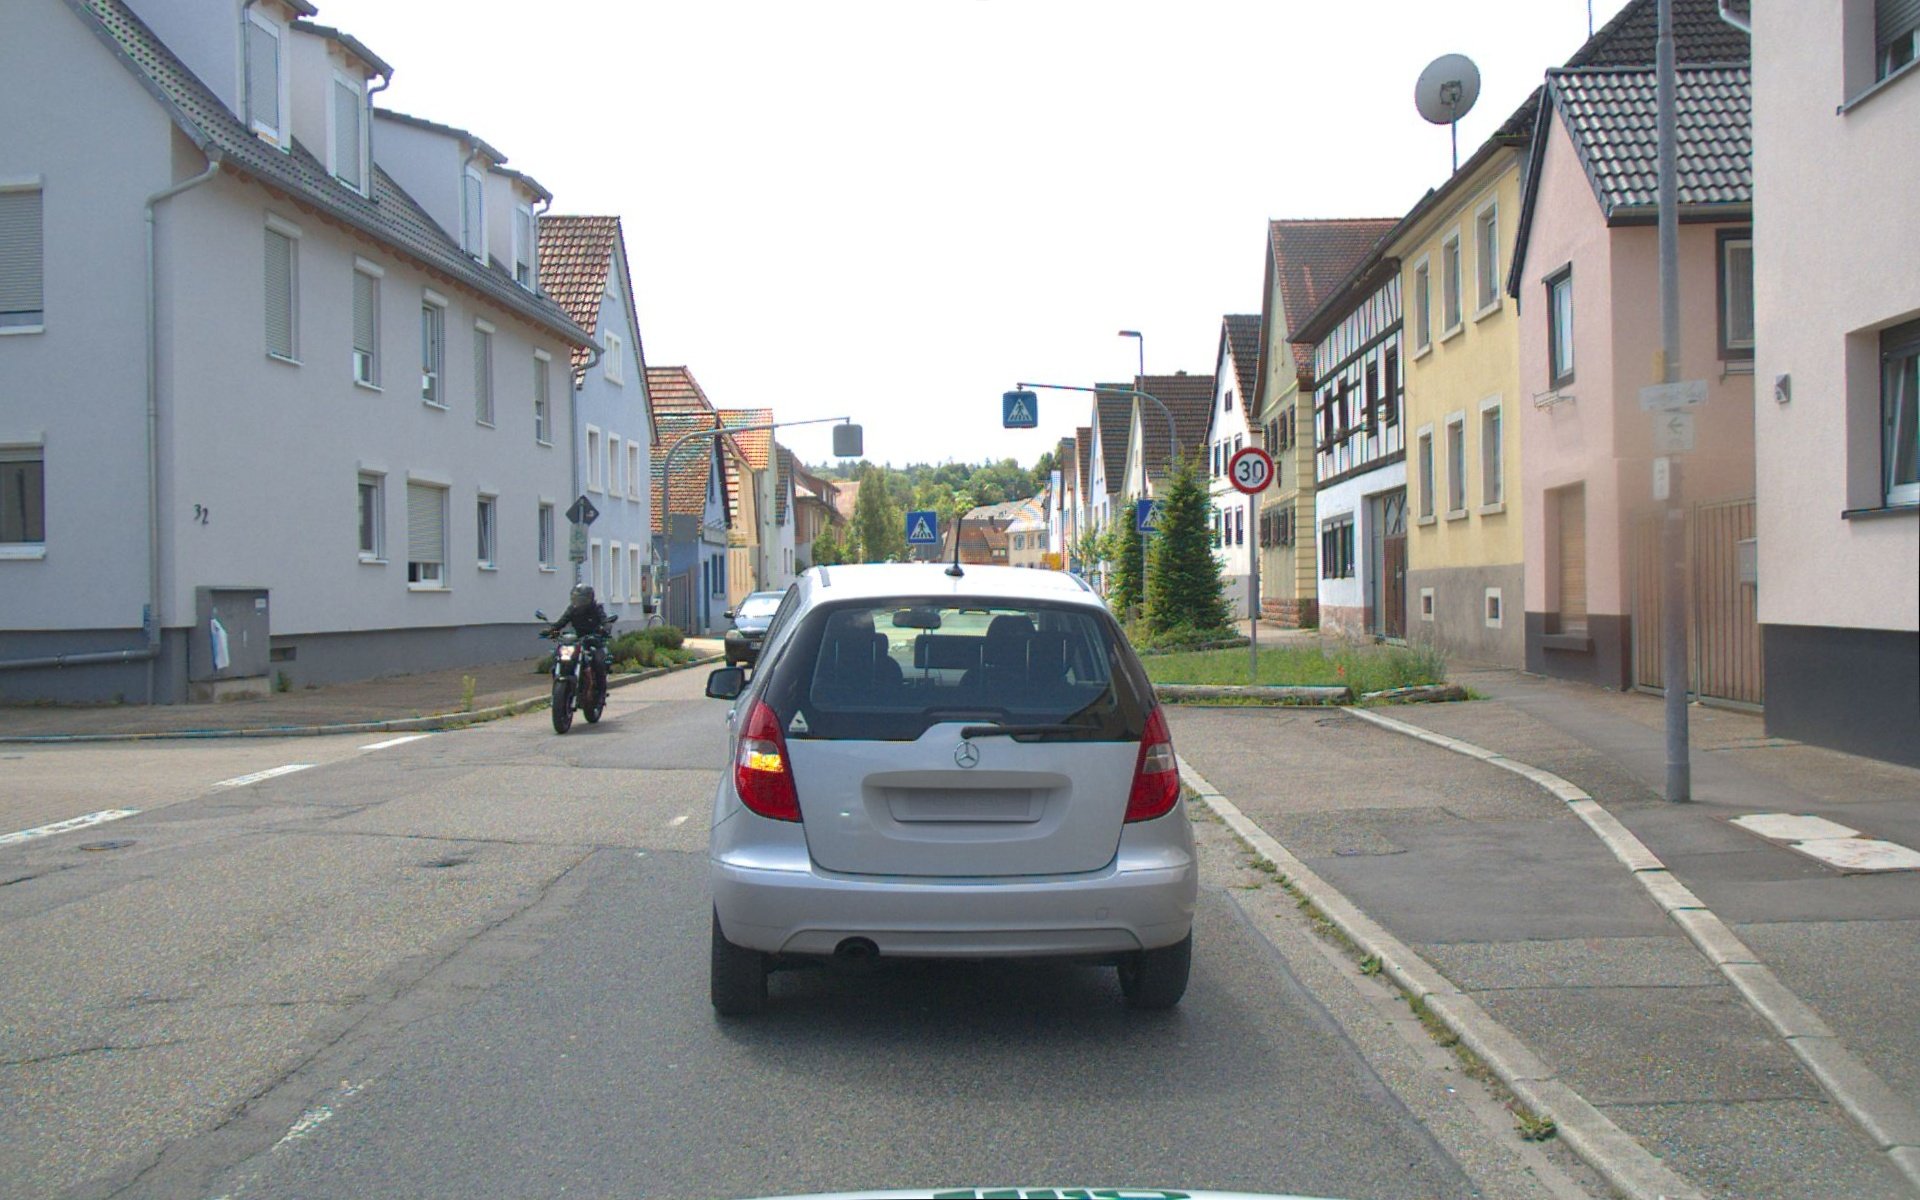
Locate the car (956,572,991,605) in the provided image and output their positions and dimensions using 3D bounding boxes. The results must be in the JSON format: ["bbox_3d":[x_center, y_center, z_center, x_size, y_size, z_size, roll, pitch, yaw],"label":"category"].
[{"bbox_3d":[0.764,-0.678,98.244,1.953,1.848,3.998,0,-2,-1],"label":"car"}]

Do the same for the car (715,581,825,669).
[{"bbox_3d":[-3.607,0.498,32.011,1.468,1.567,3.857,2,-1,3],"label":"car"}]

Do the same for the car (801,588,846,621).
[{"bbox_3d":[-6.034,0.221,72.972,1.955,1.344,3.704,0,-2,-5],"label":"car"}]

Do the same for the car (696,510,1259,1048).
[{"bbox_3d":[-0.145,0.582,7.118,1.776,1.672,3.723,1,0,-7],"label":"car"}]

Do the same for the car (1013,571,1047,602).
[{"bbox_3d":[4.471,-0.824,105.879,1.953,1.848,3.998,0,-2,-1],"label":"car"}]

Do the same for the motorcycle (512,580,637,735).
[{"bbox_3d":[-4.149,0.574,17.958,0.862,1.588,1.968,0,1,1],"label":"motorcycle"}]

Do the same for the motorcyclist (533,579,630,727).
[{"bbox_3d":[-4.127,0.559,18.086,0.878,1.582,0.807,0,0,0],"label":"motorcyclist"}]

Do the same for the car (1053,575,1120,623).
[{"bbox_3d":[4.219,-0.004,55.728,1.953,1.534,3.999,0,-2,0],"label":"car"}]

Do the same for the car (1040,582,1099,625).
[{"bbox_3d":[4.094,0.148,62.331,1.953,1.534,3.999,0,-2,0],"label":"car"}]

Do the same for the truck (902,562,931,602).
[{"bbox_3d":[-3.090,-1.254,117.712,1.953,2.581,6.737,0,-2,-1],"label":"truck"}]

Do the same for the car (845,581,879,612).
[{"bbox_3d":[-5.431,-0.162,91.942,1.633,1.624,3.999,0,-2,0],"label":"car"}]

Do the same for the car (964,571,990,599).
[{"bbox_3d":[1.328,-1.126,128.144,1.953,2.049,3.999,0,-2,0],"label":"car"}]
